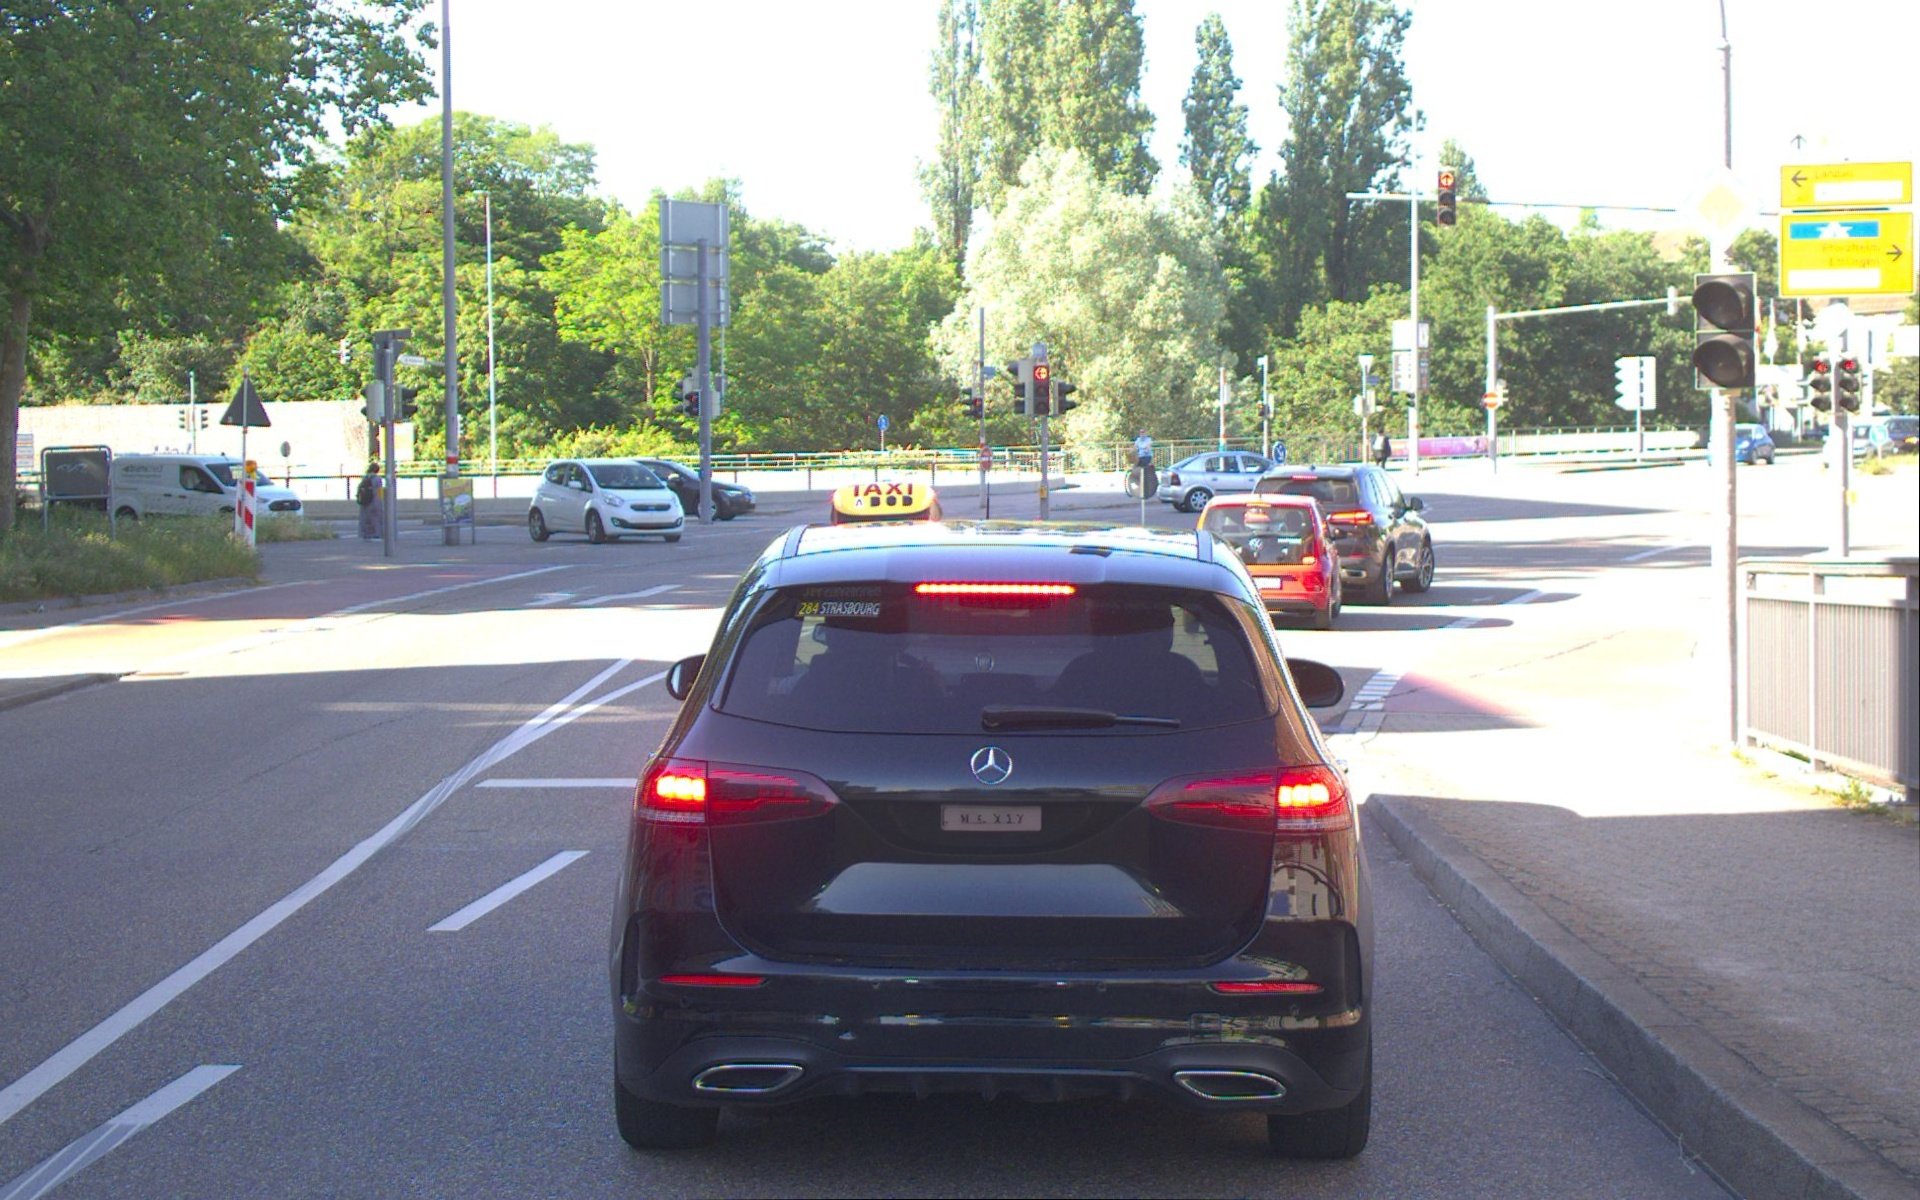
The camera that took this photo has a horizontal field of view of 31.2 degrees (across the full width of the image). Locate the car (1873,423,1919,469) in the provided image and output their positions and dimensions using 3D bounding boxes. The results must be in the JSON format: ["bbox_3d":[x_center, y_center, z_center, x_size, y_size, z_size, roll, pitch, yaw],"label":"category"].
[{"bbox_3d":[33.374,-5.380,119.537,1.882,1.573,3.992,1,3,36],"label":"car"}]

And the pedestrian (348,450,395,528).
[{"bbox_3d":[-11.581,-2.178,67.640,0.705,1.520,0.743,1,2,10],"label":"pedestrian"}]

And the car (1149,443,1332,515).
[{"bbox_3d":[6.593,-2.855,80.983,3.986,1.624,1.891,-1,2,-7],"label":"car"}]

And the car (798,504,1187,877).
[{"bbox_3d":[0.188,0.343,16.547,1.640,1.524,3.474,-1,2,2],"label":"car"}]

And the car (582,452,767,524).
[{"bbox_3d":[-6.709,-2.641,81.007,3.988,1.624,1.890,0,2,9],"label":"car"}]

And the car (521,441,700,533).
[{"bbox_3d":[-6.690,-2.179,65.513,1.778,1.629,4.000,-4,4,-32],"label":"car"}]

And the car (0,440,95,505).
[{"bbox_3d":[-24.135,-3.211,86.869,3.990,1.624,1.890,0,2,17],"label":"car"}]

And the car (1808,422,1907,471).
[{"bbox_3d":[29.891,-5.113,114.378,1.882,1.573,3.992,1,3,36],"label":"car"}]

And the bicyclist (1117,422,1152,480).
[{"bbox_3d":[4.724,-4.031,93.021,0.527,1.545,0.805,0,3,41],"label":"bicyclist"}]

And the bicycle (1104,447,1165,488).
[{"bbox_3d":[4.729,-3.582,93.055,0.527,1.046,1.985,0,3,41],"label":"bicycle"}]

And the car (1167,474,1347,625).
[{"bbox_3d":[3.411,-0.615,38.990,1.722,1.516,3.485,0,4,10],"label":"car"}]

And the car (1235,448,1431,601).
[{"bbox_3d":[4.904,-1.018,44.704,1.723,1.805,4.294,0,4,17],"label":"car"}]

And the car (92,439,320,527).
[{"bbox_3d":[-16.507,-2.555,75.182,4.891,1.788,1.921,0,3,33],"label":"car"}]

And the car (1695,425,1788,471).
[{"bbox_3d":[28.257,-5.492,124.225,1.882,1.573,3.992,1,3,36],"label":"car"}]

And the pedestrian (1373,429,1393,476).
[{"bbox_3d":[14.185,-4.949,115.344,0.451,1.580,0.500,0,3,40],"label":"pedestrian"}]

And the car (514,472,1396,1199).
[{"bbox_3d":[-0.038,0.485,9.387,1.877,1.608,4.000,1,2,-1],"label":"car"}]
